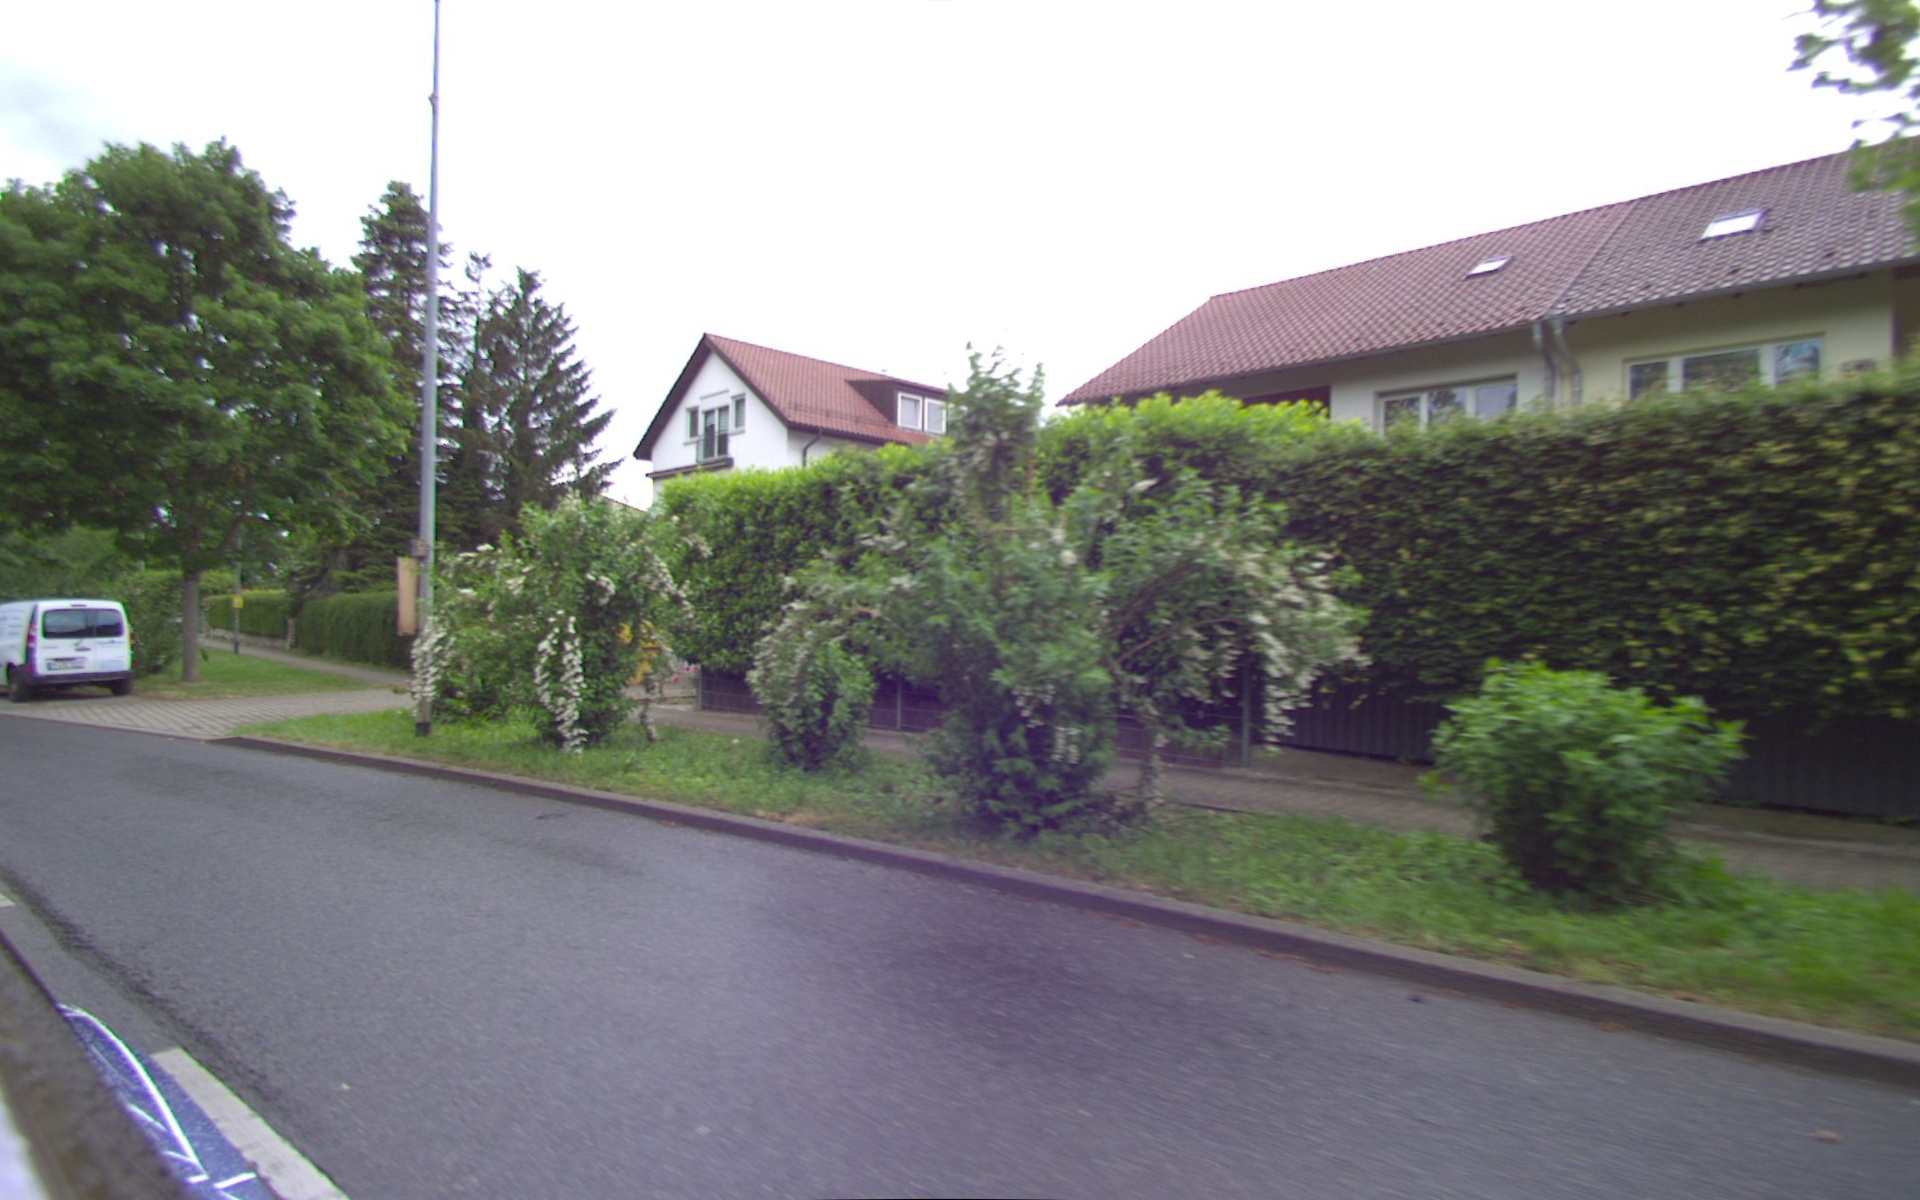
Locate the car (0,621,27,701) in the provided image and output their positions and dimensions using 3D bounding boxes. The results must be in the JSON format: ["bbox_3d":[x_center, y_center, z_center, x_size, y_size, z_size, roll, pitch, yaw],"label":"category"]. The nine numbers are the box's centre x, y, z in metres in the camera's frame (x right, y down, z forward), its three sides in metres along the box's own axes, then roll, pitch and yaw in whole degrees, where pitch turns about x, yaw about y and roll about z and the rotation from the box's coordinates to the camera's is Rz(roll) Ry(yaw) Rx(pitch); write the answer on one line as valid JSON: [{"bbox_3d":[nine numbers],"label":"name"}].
[{"bbox_3d":[-22.300,1.298,21.624,4.562,1.653,1.742,0,1,23],"label":"car"}]

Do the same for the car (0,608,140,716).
[{"bbox_3d":[-17.655,1.098,19.284,4.356,1.809,1.785,-1,0,31],"label":"car"}]
